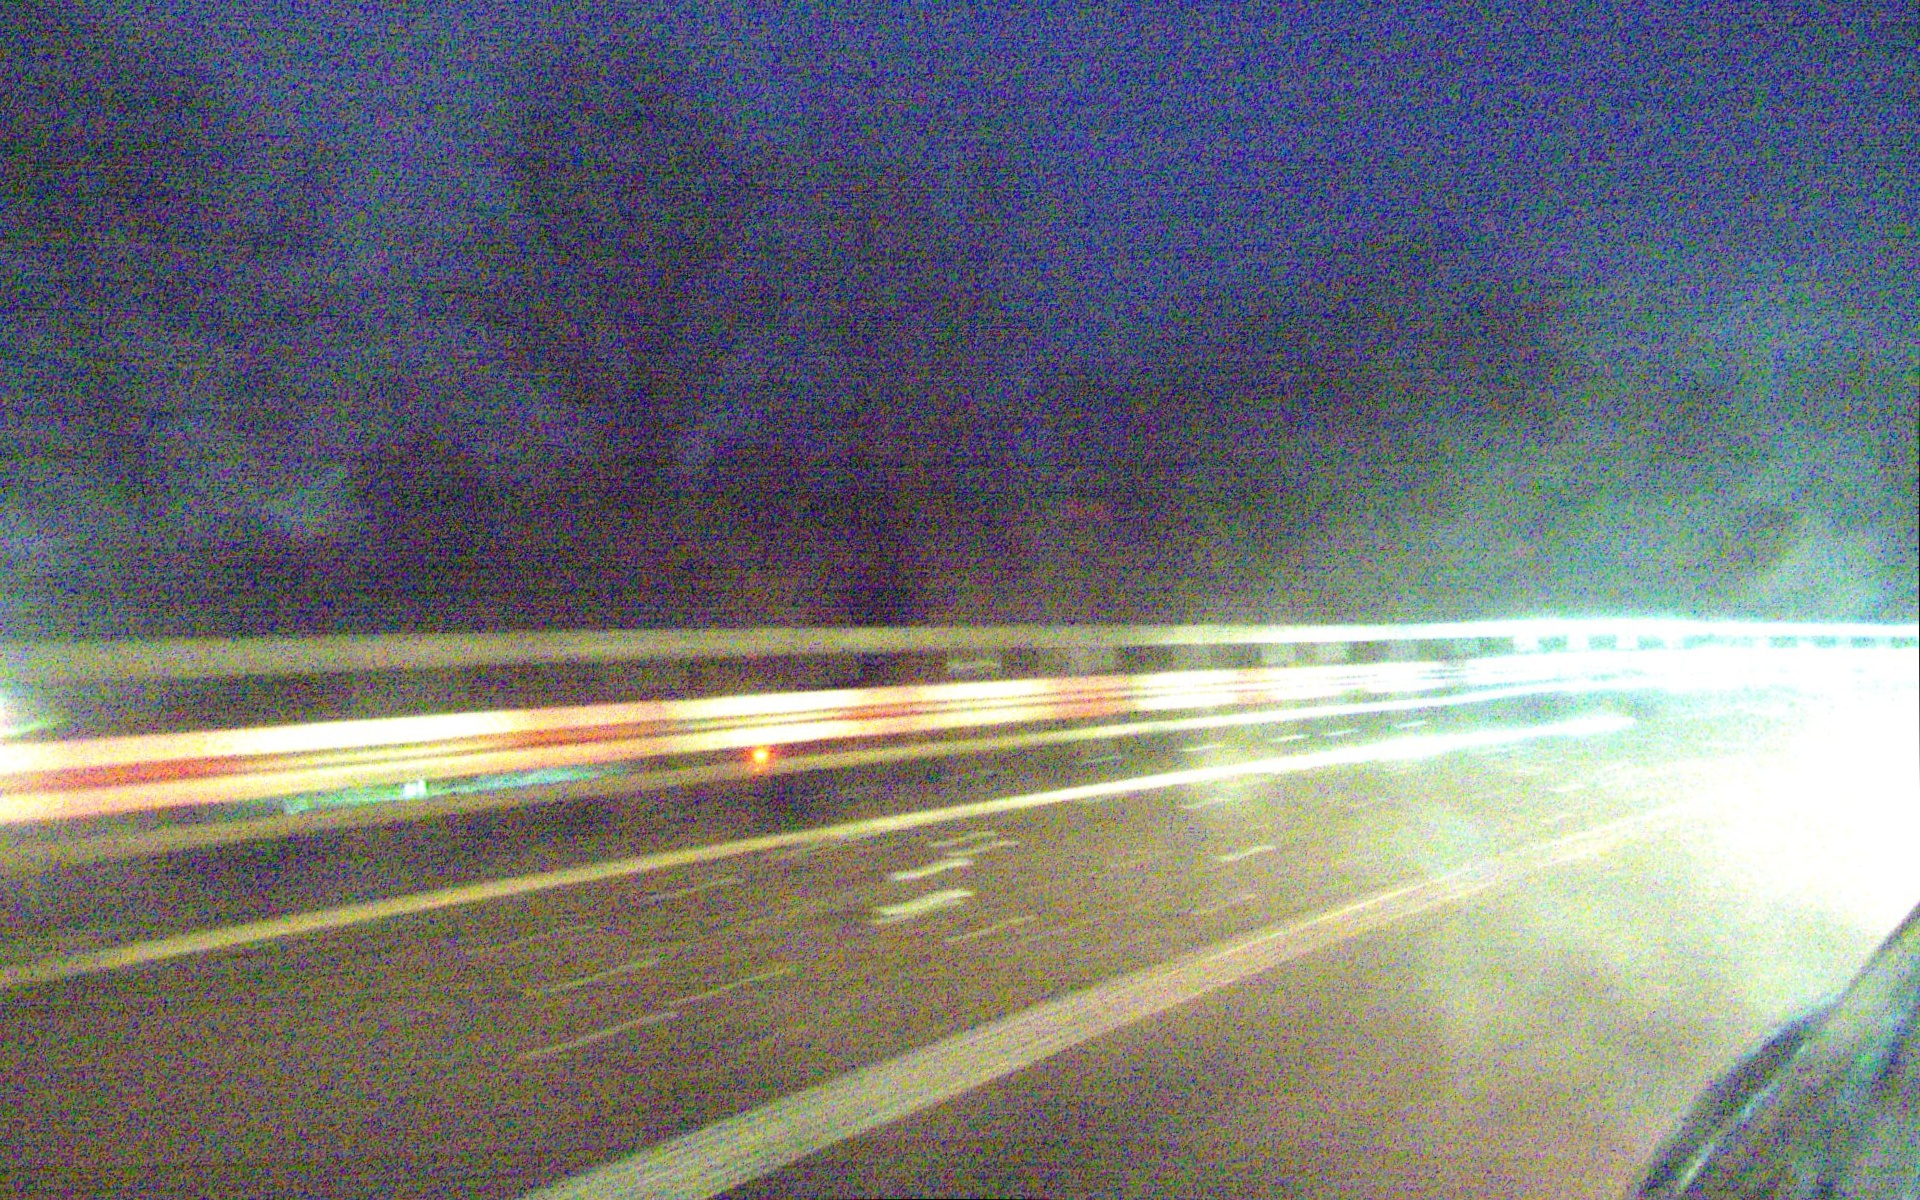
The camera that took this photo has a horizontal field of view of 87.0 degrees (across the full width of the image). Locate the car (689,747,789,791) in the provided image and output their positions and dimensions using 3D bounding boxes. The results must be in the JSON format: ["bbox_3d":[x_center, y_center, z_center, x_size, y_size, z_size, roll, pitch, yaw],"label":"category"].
[{"bbox_3d":[-9.802,7.499,44.929,4.068,1.706,1.730,-4,-4,20],"label":"car"}]
